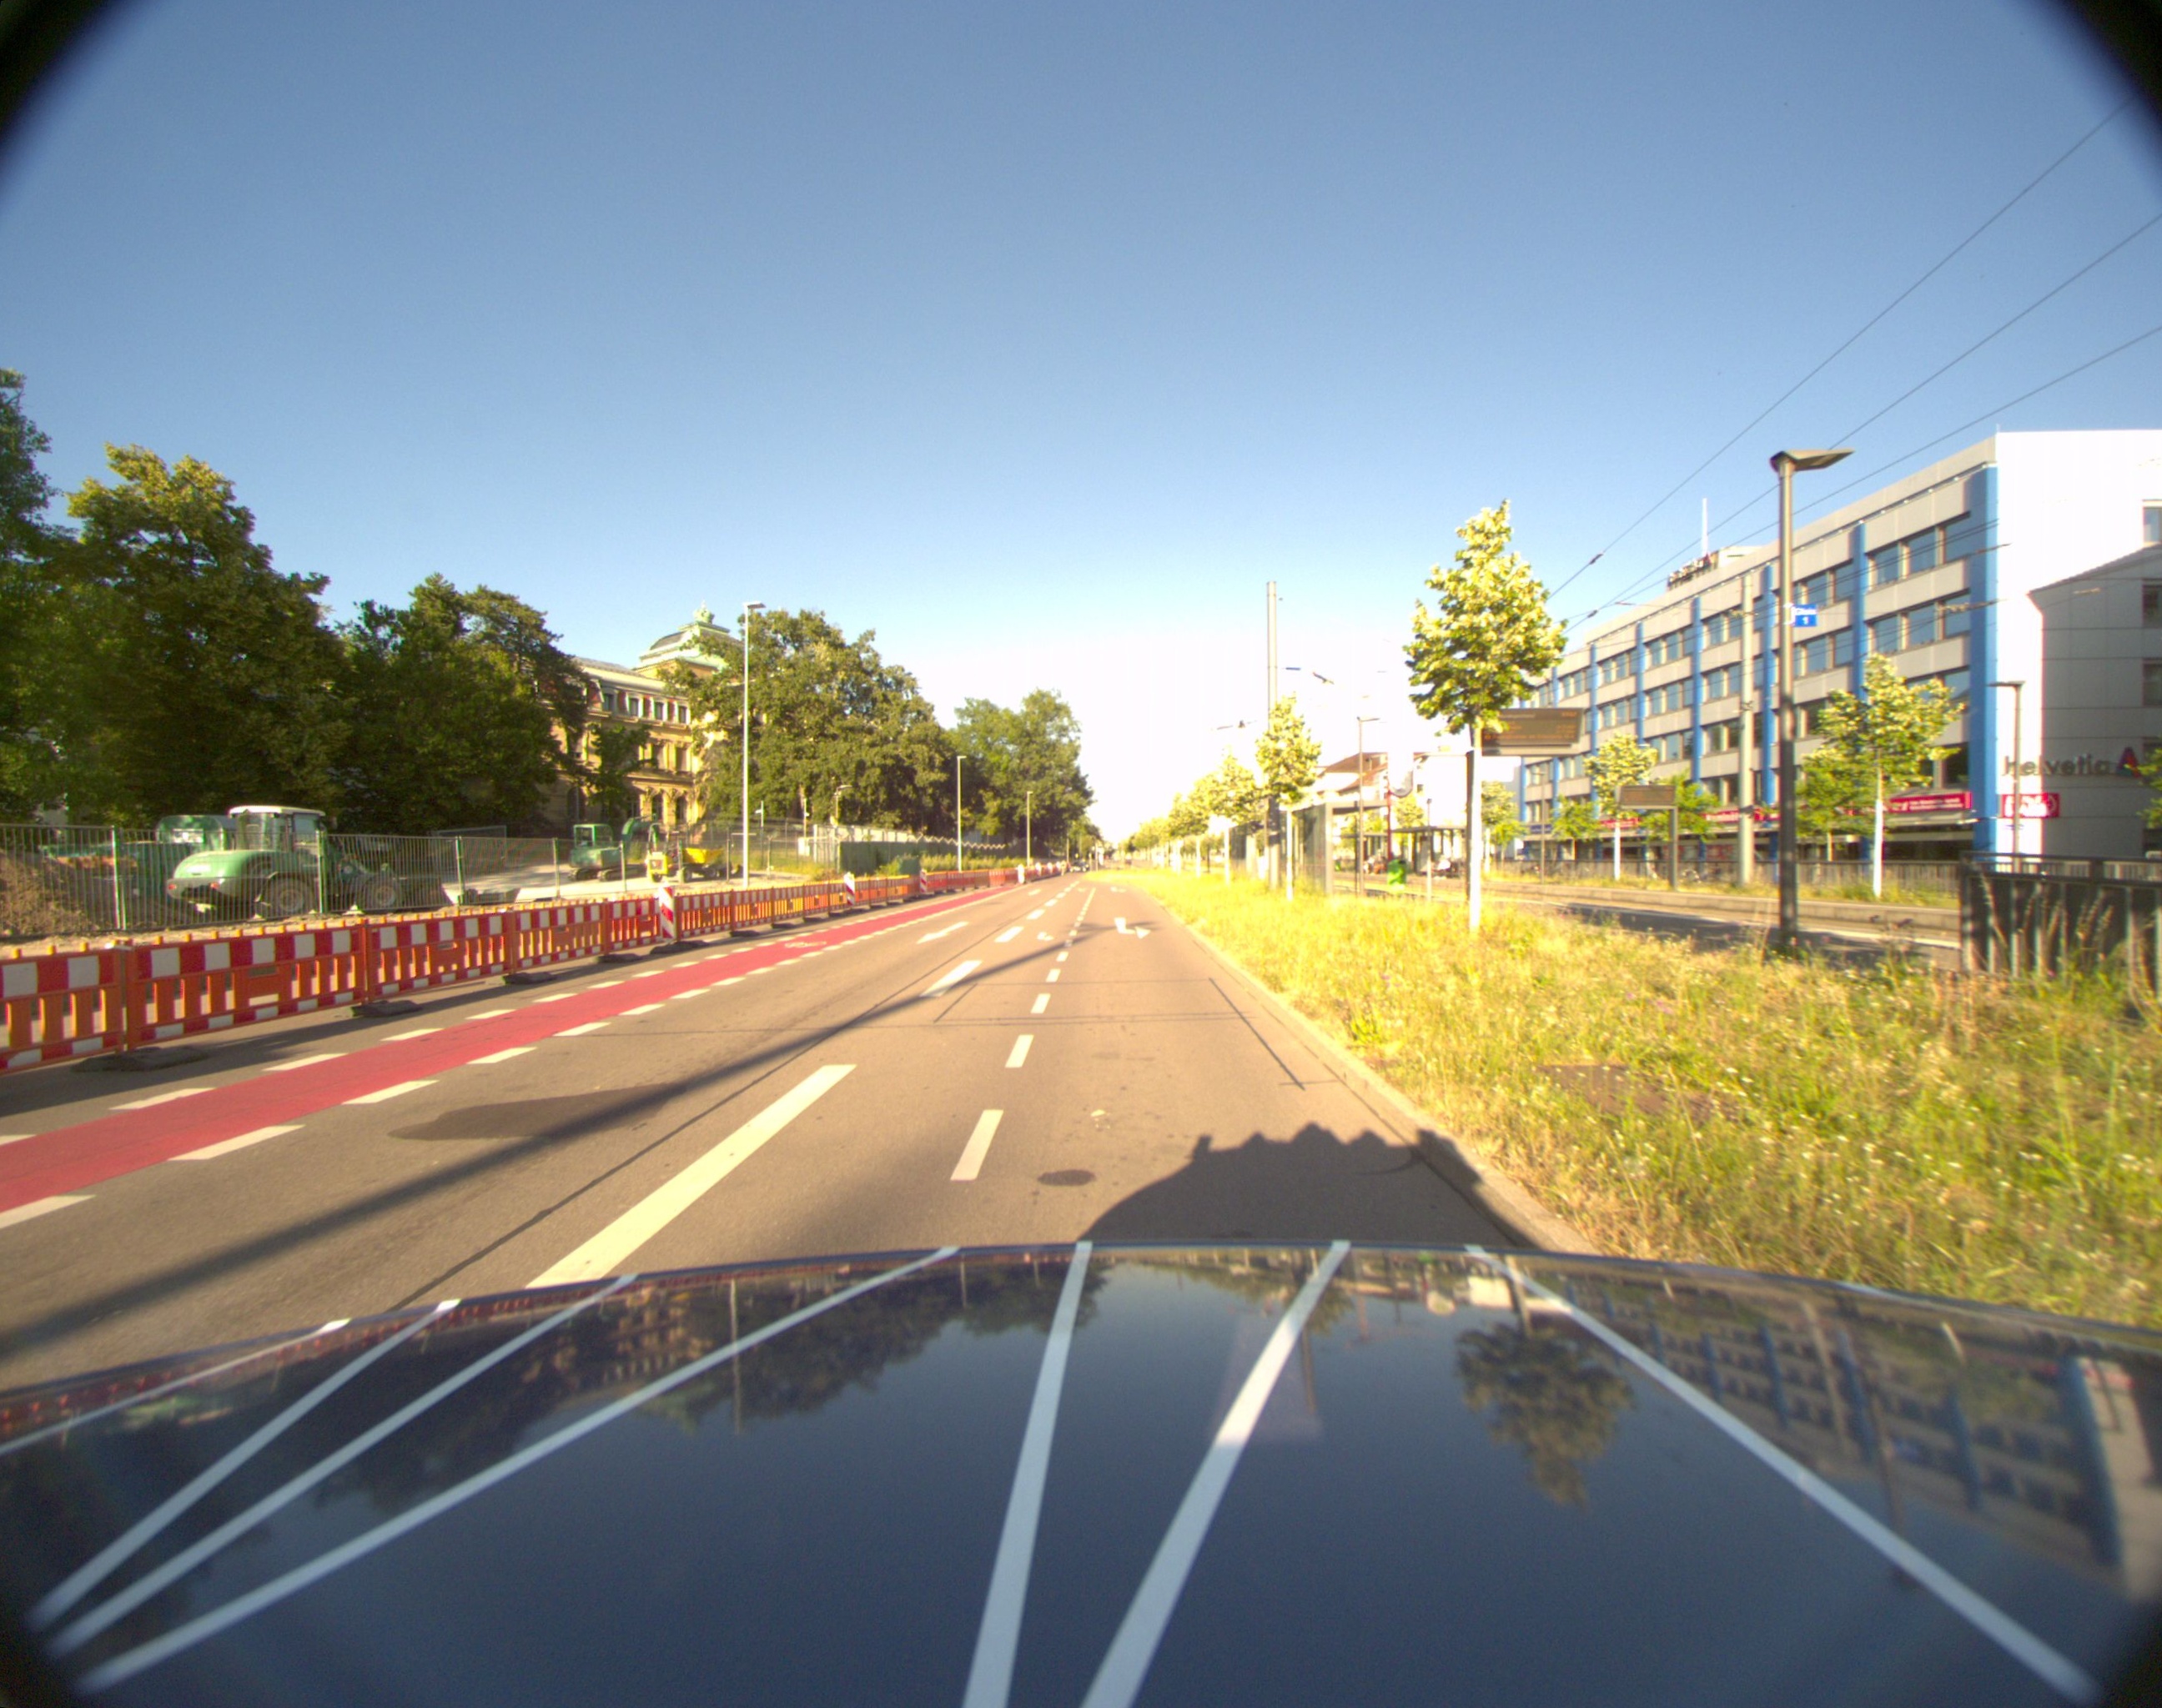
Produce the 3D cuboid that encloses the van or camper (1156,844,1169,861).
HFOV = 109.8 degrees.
[{"bbox_3d":[16.275,-0.321,151.599,2.510,3.149,7.478,-1,0,5],"label":"van or camper"}]

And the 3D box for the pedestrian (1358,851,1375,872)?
[{"bbox_3d":[19.416,0.531,51.708,0.840,1.402,0.804,0,1,2],"label":"pedestrian"}]

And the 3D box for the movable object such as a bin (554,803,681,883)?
[{"bbox_3d":[-22.084,-0.467,36.554,2.280,3.536,5.501,0,0,6],"label":"movable object such as a bin"}]

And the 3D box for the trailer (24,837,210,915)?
[{"bbox_3d":[-31.395,0.679,24.869,2.954,2.311,2.222,0,5,-2],"label":"trailer"}]

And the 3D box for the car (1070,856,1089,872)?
[{"bbox_3d":[-0.193,1.199,92.183,2.080,1.827,4.001,0,0,3],"label":"car"}]

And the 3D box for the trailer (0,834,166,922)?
[{"bbox_3d":[-30.569,0.635,22.011,5.044,2.311,2.222,0,5,-2],"label":"trailer"}]

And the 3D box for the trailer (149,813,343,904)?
[{"bbox_3d":[-31.216,0.055,28.660,2.616,3.075,3.981,0,5,-1],"label":"trailer"}]

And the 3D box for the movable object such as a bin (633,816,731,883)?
[{"bbox_3d":[-18.350,-0.195,35.167,1.997,2.887,4.003,0,0,9],"label":"movable object such as a bin"}]

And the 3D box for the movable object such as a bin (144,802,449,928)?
[{"bbox_3d":[-18.837,0.234,18.715,2.281,2.688,4.942,0,0,2],"label":"movable object such as a bin"}]

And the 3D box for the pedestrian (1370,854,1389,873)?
[{"bbox_3d":[19.293,0.607,49.139,0.936,1.190,0.764,0,0,2],"label":"pedestrian"}]
